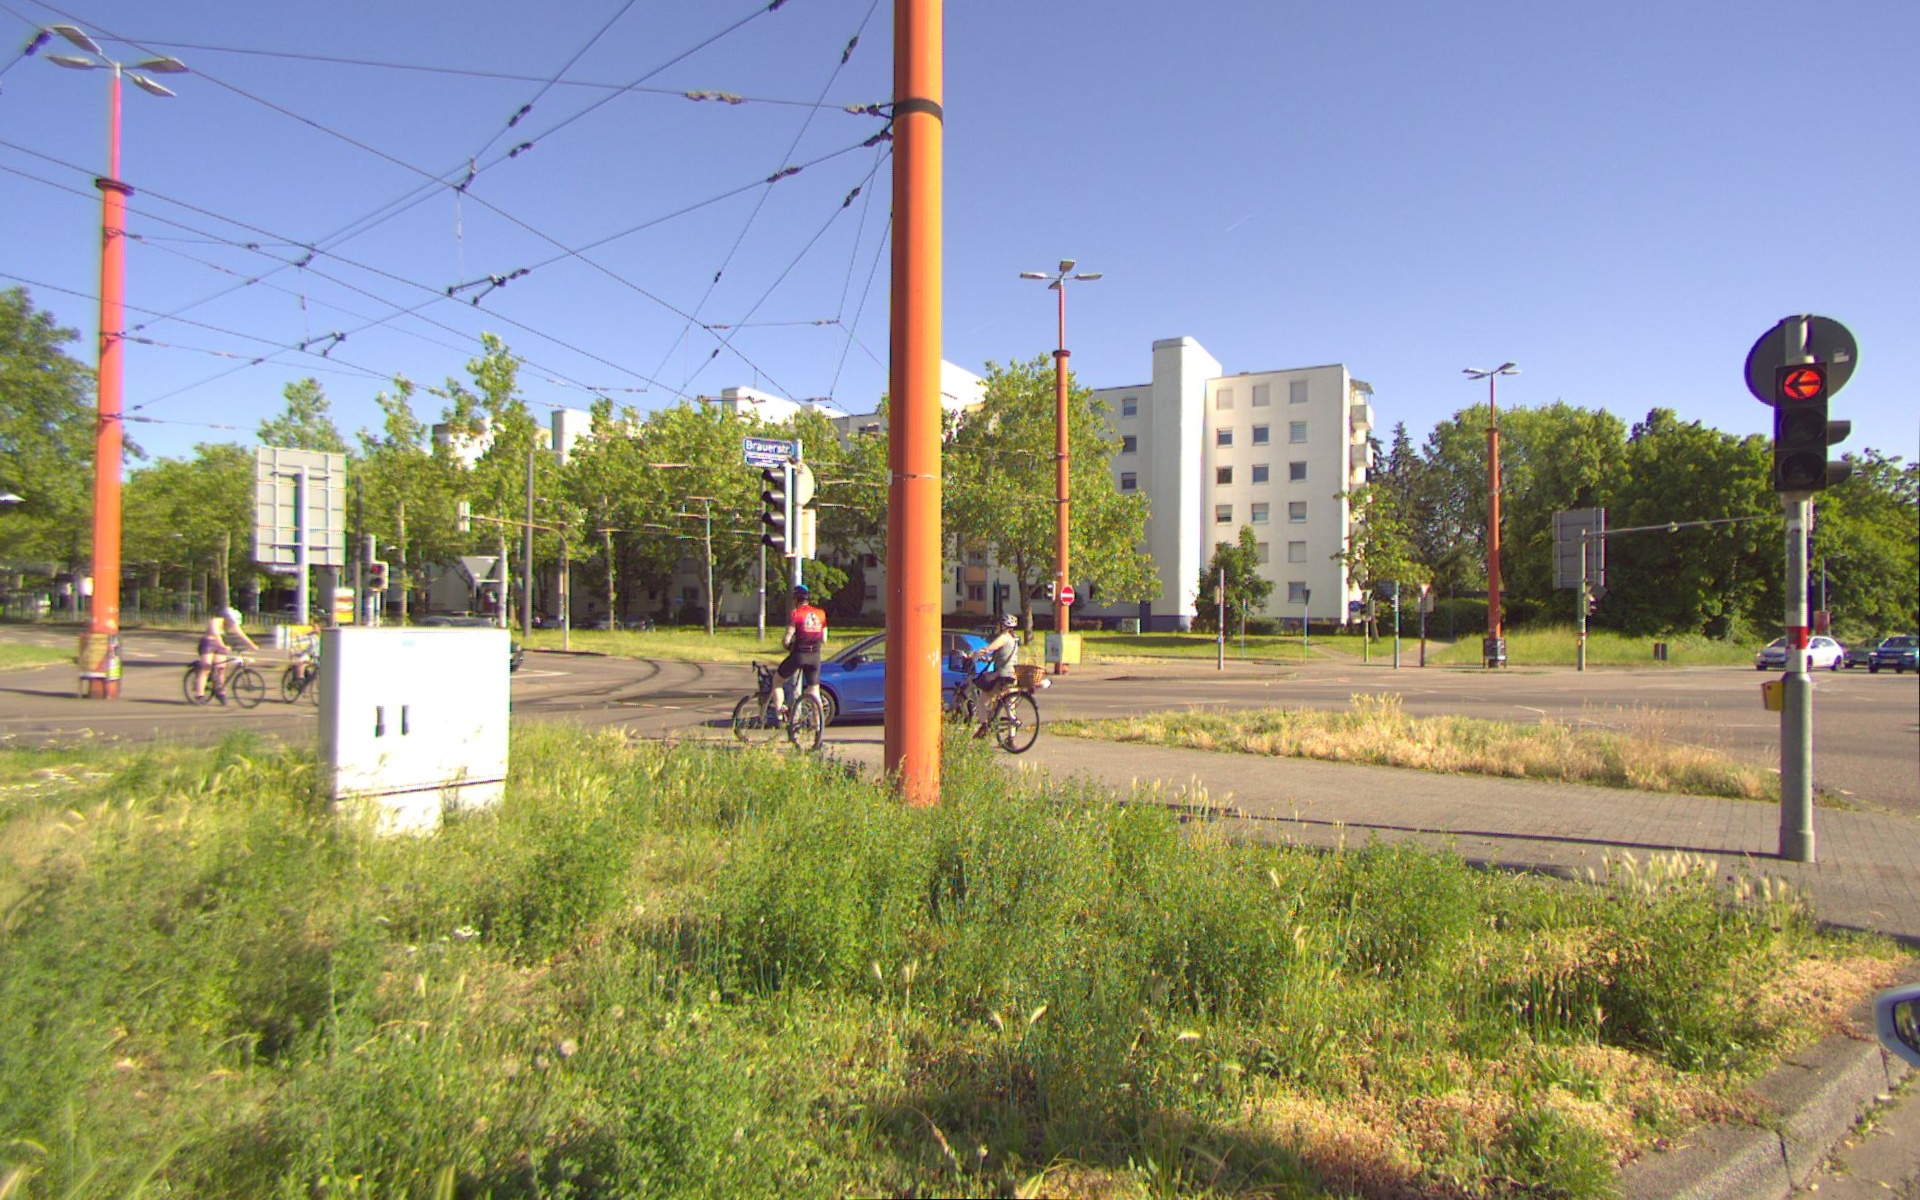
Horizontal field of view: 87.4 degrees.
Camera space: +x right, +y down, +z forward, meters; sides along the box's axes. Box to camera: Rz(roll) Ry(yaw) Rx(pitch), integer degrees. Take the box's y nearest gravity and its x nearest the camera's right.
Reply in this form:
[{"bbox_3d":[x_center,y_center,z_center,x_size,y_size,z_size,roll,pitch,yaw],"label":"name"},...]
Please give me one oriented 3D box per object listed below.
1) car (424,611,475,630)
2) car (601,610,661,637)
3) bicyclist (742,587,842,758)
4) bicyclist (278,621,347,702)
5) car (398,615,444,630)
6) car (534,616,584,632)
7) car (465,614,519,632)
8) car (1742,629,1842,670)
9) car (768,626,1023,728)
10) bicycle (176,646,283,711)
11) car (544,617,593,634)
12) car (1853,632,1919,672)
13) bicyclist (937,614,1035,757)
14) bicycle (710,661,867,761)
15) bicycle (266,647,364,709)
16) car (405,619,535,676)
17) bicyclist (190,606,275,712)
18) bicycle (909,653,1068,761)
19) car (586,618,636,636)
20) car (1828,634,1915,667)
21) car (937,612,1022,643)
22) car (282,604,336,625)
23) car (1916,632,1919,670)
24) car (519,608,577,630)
[{"bbox_3d":[-43.250,1.764,85.106,3.592,1.480,1.608,2,0,-19],"label":"car"},{"bbox_3d":[-23.658,1.704,72.301,3.874,1.841,1.651,2,0,-13],"label":"car"},{"bbox_3d":[-2.003,0.842,11.967,0.974,1.938,0.685,-1,-2,33],"label":"bicyclist"},{"bbox_3d":[-12.889,1.202,20.009,0.906,1.545,0.720,2,0,20],"label":"bicyclist"},{"bbox_3d":[-46.617,1.927,86.961,3.370,1.204,1.439,2,0,-23],"label":"car"},{"bbox_3d":[-30.887,1.858,77.443,3.346,1.162,1.305,2,0,-13],"label":"car"},{"bbox_3d":[-38.831,1.920,83.394,3.665,1.349,1.496,2,0,-8],"label":"car"},{"bbox_3d":[35.374,2.116,42.687,4.168,1.673,1.869,2,-3,-29],"label":"car"},{"bbox_3d":[-1.073,1.161,15.918,3.841,1.439,1.575,0,-1,-13],"label":"car"},{"bbox_3d":[-13.635,1.439,18.738,1.877,1.086,0.580,2,0,17],"label":"bicycle"},{"bbox_3d":[-29.320,1.891,75.346,3.219,1.172,1.357,2,0,-12],"label":"car"},{"bbox_3d":[37.304,2.044,39.766,3.813,1.535,1.793,1,-3,-30],"label":"car"},{"bbox_3d":[0.321,1.002,12.231,0.815,1.643,0.888,0,-1,41],"label":"bicyclist"},{"bbox_3d":[-2.069,1.285,12.007,1.883,1.085,0.690,-2,-2,33],"label":"bicycle"},{"bbox_3d":[-12.851,1.535,20.002,1.878,1.086,0.580,2,0,19],"label":"bicycle"},{"bbox_3d":[-15.205,1.425,31.128,3.977,1.516,1.913,2,0,34],"label":"car"},{"bbox_3d":[-13.592,1.083,18.780,0.905,1.892,0.893,2,0,17],"label":"bicyclist"},{"bbox_3d":[0.321,1.252,12.189,1.887,1.146,0.737,0,-1,41],"label":"bicycle"},{"bbox_3d":[-25.823,1.997,74.318,3.279,1.149,1.321,2,0,-11],"label":"car"},{"bbox_3d":[43.144,2.380,47.532,3.952,1.533,1.877,1,-2,-29],"label":"car"},{"bbox_3d":[1.002,1.382,50.345,3.871,1.522,1.839,0,-2,18],"label":"car"},{"bbox_3d":[-66.291,1.466,102.365,4.274,2.010,1.932,1,-1,-19],"label":"car"},{"bbox_3d":[42.615,2.174,42.716,3.955,1.575,1.891,2,-2,-32],"label":"car"},{"bbox_3d":[-32.540,1.508,79.438,3.868,1.614,1.656,2,0,-8],"label":"car"}]
